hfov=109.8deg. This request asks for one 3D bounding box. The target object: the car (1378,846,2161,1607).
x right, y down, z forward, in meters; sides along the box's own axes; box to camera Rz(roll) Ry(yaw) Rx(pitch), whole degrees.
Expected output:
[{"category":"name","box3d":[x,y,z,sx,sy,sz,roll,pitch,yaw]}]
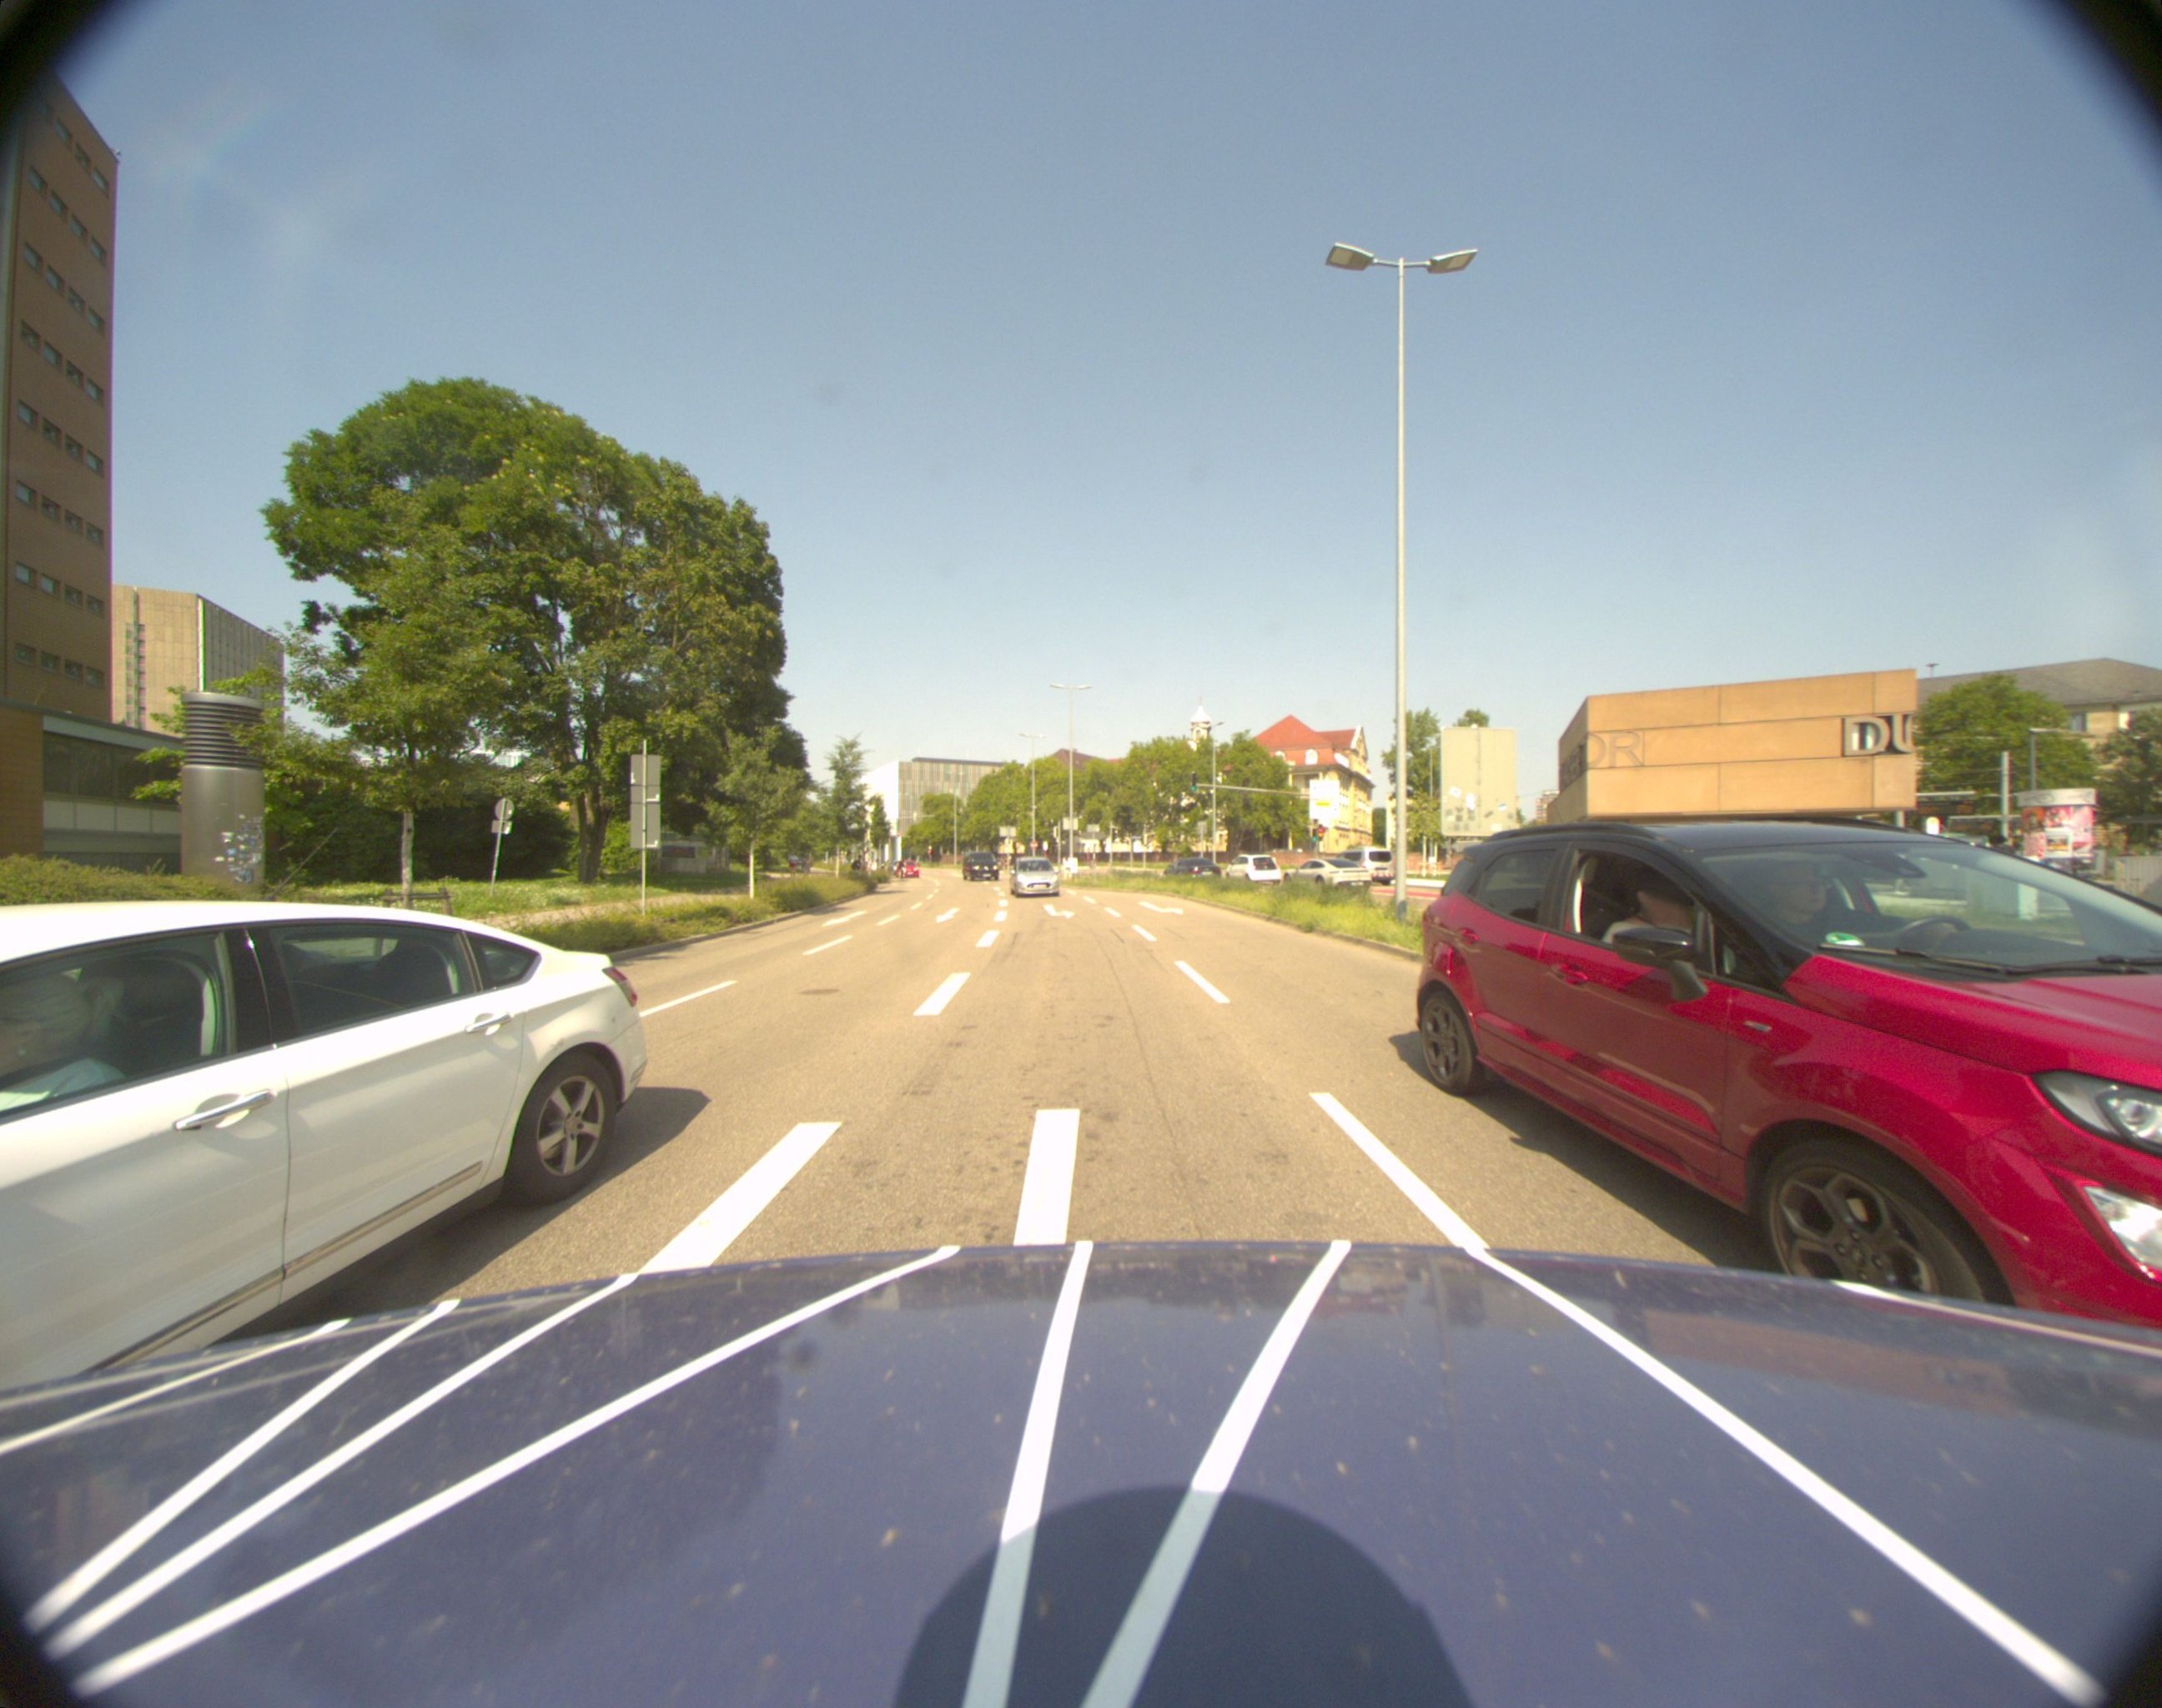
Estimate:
[{"category":"car","box3d":[2.952,0.786,3.514,1.694,1.577,3.845,-2,0,1]}]

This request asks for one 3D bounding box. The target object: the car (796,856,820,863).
[{"category":"car","box3d":[-58.700,1.172,163.350,4.429,1.380,1.767,-2,0,-36]}]

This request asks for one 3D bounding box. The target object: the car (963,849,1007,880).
[{"category":"car","box3d":[-6.549,0.685,51.374,1.893,1.908,4.526,-2,0,-20]}]

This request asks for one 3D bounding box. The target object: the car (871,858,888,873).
[{"category":"car","box3d":[-23.658,1.338,89.110,1.812,1.652,3.995,0,0,-13]}]

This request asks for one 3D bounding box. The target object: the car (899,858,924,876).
[{"category":"car","box3d":[-14.269,1.073,63.821,1.652,1.422,3.810,-2,0,-18]}]

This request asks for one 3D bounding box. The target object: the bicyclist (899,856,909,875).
[{"category":"bicyclist","box3d":[-13.127,0.882,56.462,0.679,1.392,1.048,0,1,-10]}]

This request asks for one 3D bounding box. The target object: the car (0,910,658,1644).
[{"category":"car","box3d":[-3.259,1.029,1.853,1.773,1.420,4.609,0,0,1]}]

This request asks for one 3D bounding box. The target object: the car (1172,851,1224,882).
[{"category":"car","box3d":[5.665,0.567,37.096,1.526,1.417,3.474,0,0,-8]}]

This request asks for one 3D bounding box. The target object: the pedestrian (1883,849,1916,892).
[{"category":"pedestrian","box3d":[28.803,0.567,26.737,0.539,1.488,0.541,0,1,-1]}]

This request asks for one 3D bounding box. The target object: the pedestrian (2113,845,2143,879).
[{"category":"pedestrian","box3d":[43.374,0.341,31.484,0.554,1.386,0.534,0,1,28]}]

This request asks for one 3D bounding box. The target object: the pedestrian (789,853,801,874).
[{"category":"pedestrian","box3d":[-17.719,0.578,47.121,0.635,1.291,0.486,-3,1,-17]}]

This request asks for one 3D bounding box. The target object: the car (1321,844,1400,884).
[{"category":"car","box3d":[13.692,0.450,37.450,1.869,1.843,3.911,0,1,-12]}]

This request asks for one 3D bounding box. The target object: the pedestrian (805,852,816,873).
[{"category":"pedestrian","box3d":[-16.888,0.538,47.383,0.577,1.291,0.437,-3,1,-18]}]

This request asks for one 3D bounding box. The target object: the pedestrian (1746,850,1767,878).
[{"category":"pedestrian","box3d":[26.844,0.400,30.214,0.538,1.093,0.543,0,1,32]}]

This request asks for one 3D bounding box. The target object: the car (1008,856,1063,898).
[{"category":"car","box3d":[-1.949,0.883,31.165,1.660,1.521,4.529,-2,0,-11]}]

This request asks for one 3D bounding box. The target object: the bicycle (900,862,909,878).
[{"category":"bicycle","box3d":[-13.145,1.173,56.607,0.594,1.162,2.233,0,0,-11]}]

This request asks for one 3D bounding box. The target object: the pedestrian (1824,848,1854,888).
[{"category":"pedestrian","box3d":[27.891,0.508,27.950,0.539,1.488,0.541,0,1,-1]}]

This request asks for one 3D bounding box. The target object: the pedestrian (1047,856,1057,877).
[{"category":"pedestrian","box3d":[-1.866,0.794,48.783,0.605,1.291,0.617,-2,1,-4]}]

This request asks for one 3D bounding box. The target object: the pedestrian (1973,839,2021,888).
[{"category":"pedestrian","box3d":[28.372,0.292,23.540,0.771,1.488,0.606,0,1,-1]}]

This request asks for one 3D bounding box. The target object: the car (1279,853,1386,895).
[{"category":"car","box3d":[10.073,0.741,30.882,2.001,1.576,4.710,0,0,-12]}]

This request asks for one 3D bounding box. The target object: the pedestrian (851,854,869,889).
[{"category":"pedestrian","box3d":[-11.828,0.929,40.700,0.823,1.892,0.630,-1,1,-12]}]

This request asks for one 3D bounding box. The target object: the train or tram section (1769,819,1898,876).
[{"category":"train or tram section","box3d":[51.531,-0.408,52.588,2.698,3.418,13.446,0,0,28]}]

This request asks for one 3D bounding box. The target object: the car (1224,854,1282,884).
[{"category":"car","box3d":[8.673,0.719,38.590,1.527,1.470,3.473,0,0,-13]}]

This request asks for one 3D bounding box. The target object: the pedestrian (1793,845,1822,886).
[{"category":"pedestrian","box3d":[26.741,0.420,27.970,0.539,1.488,0.541,0,1,-1]}]
